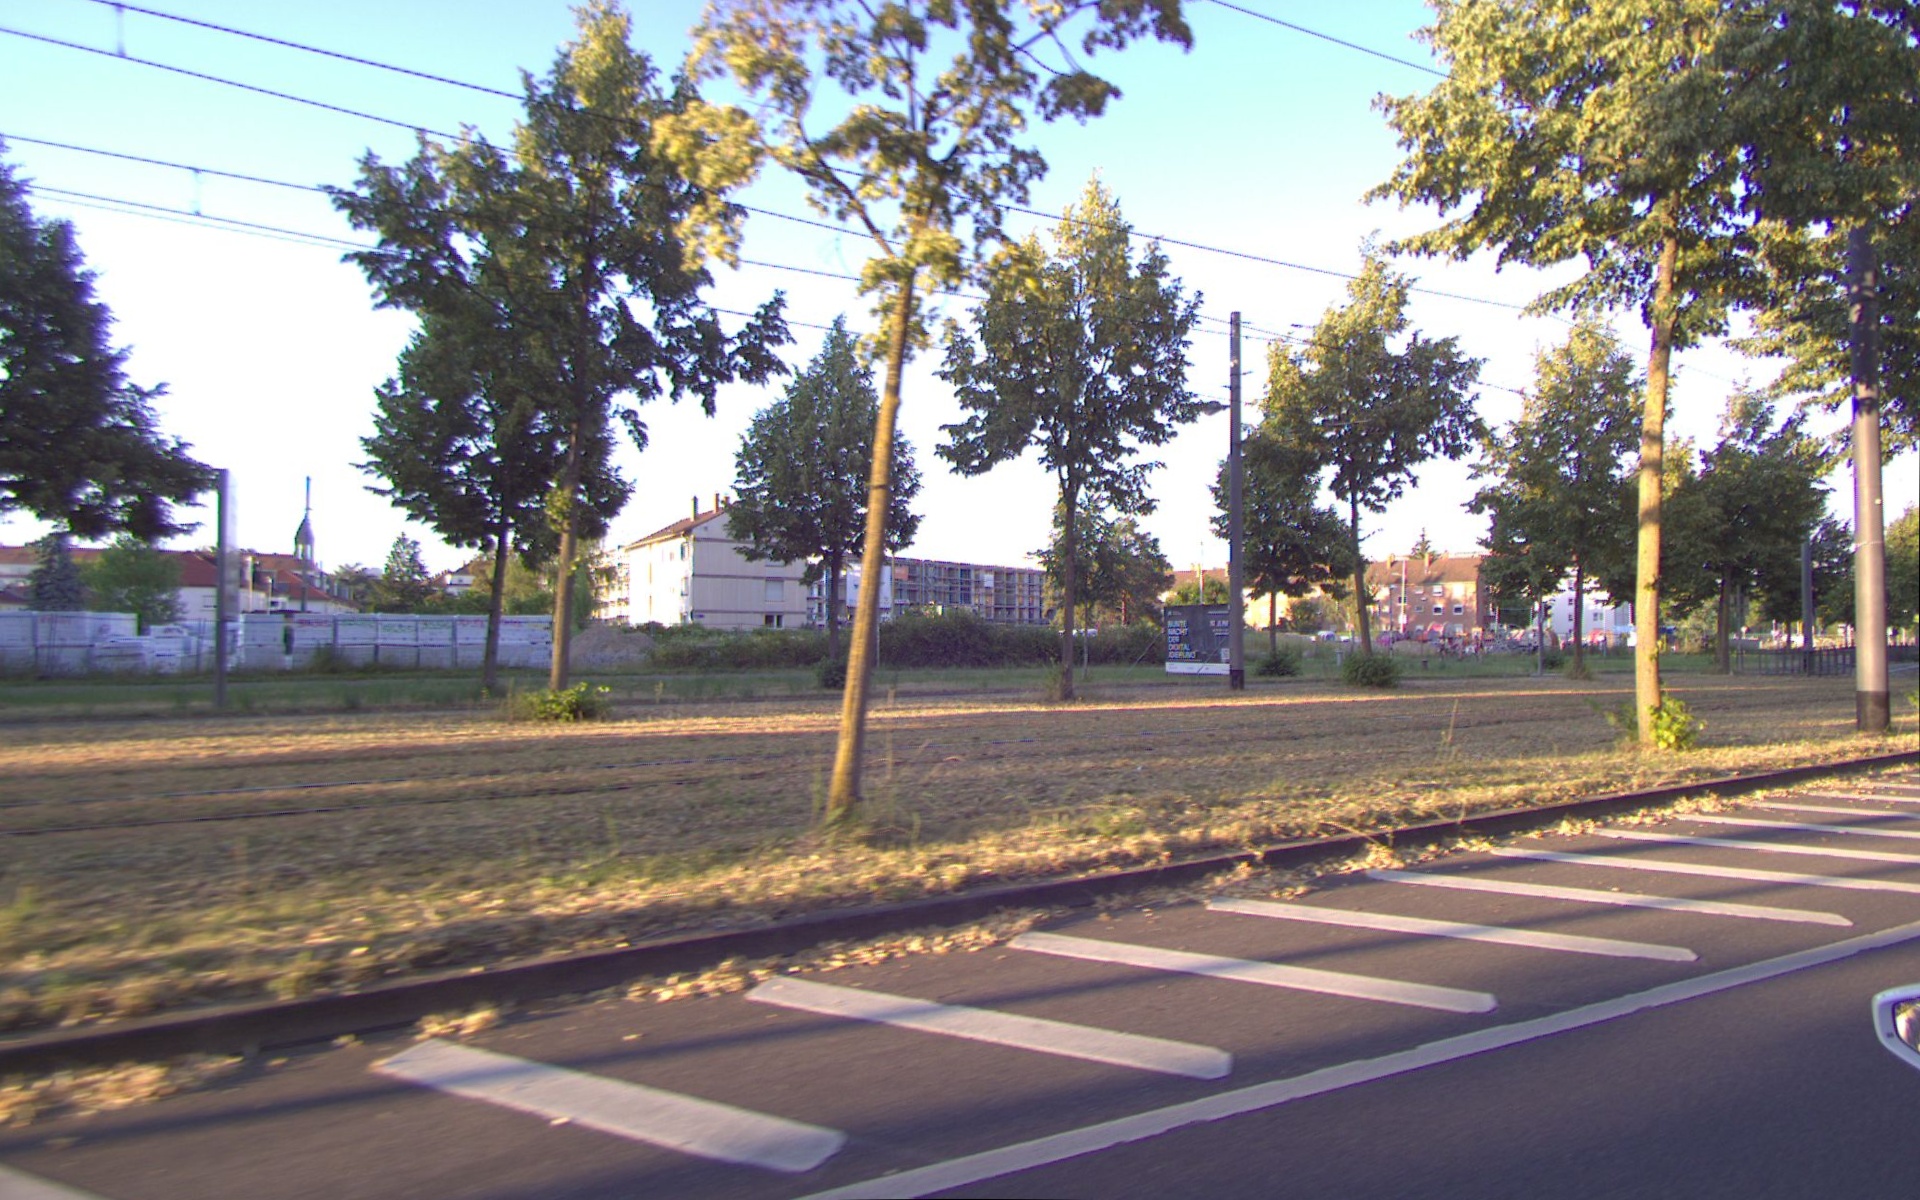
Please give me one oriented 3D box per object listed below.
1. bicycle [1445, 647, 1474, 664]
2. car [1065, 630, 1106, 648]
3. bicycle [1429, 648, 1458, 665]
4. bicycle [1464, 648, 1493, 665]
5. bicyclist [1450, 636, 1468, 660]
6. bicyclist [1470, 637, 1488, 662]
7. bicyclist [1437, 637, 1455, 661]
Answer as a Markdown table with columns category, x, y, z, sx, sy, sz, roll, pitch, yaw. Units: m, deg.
| category | x | y | z | sx | sy | sz | roll | pitch | yaw |
| --- | --- | --- | --- | --- | --- | --- | --- | --- | --- |
| bicycle | 30.729 | 3.415 | 61.762 | 2.061 | 1.024 | 0.615 | 2 | -2 | -33 |
| car | 14.571 | 4.555 | 116.879 | 4.762 | 2.040 | 1.978 | 2 | -2 | -38 |
| bicycle | 29.032 | 3.376 | 60.312 | 2.061 | 1.024 | 0.615 | 2 | -2 | -33 |
| bicycle | 31.527 | 3.427 | 61.041 | 2.061 | 1.024 | 0.615 | 2 | -2 | -33 |
| bicyclist | 30.642 | 2.931 | 61.726 | 0.927 | 1.475 | 0.615 | 1 | -2 | -33 |
| bicyclist | 31.534 | 3.019 | 61.052 | 0.927 | 1.475 | 0.615 | 1 | -2 | -33 |
| bicyclist | 29.244 | 2.955 | 60.451 | 0.927 | 1.440 | 0.615 | 1 | -2 | -33 |
